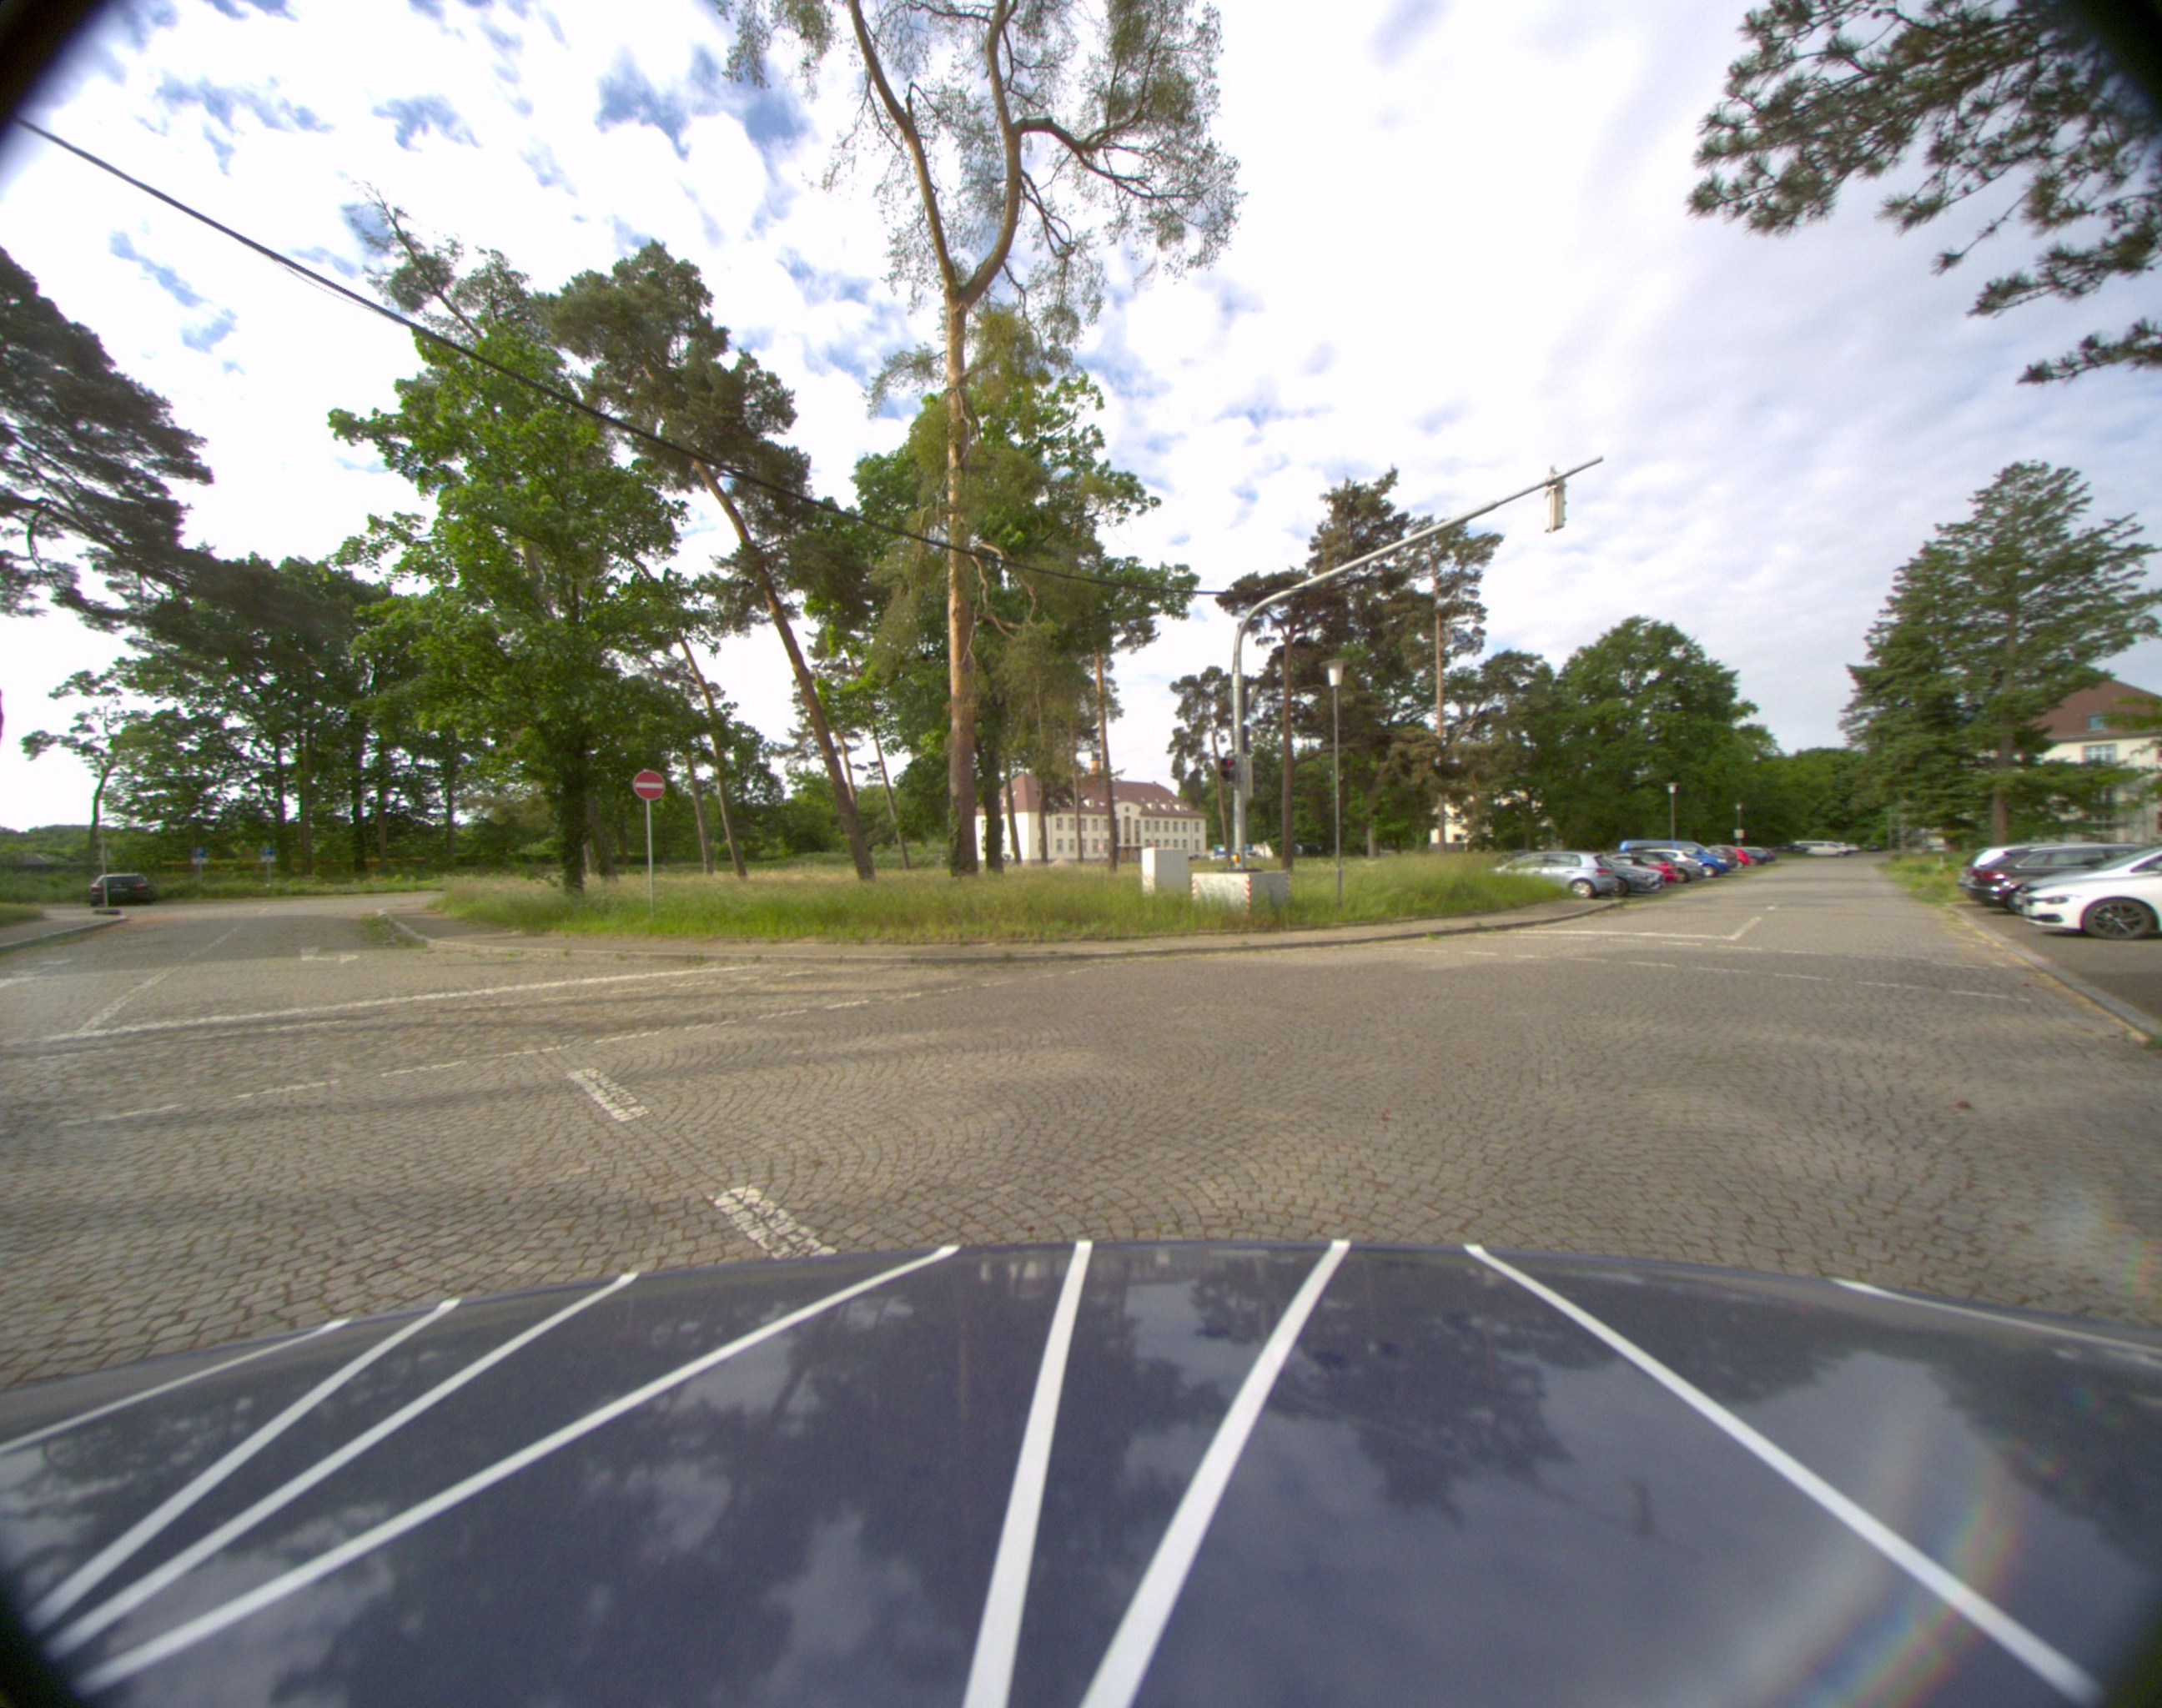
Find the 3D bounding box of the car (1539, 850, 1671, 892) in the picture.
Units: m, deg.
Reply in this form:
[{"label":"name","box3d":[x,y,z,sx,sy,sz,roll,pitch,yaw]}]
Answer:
[{"label":"car","box3d":[20.318,0.636,29.583,1.800,1.504,3.925,-1,1,-41]}]

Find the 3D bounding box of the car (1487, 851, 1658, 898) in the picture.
[{"label":"car","box3d":[16.727,0.643,26.030,1.800,1.437,4.620,-1,1,-44]}]

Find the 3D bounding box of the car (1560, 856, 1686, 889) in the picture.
[{"label":"car","box3d":[22.207,0.729,31.211,1.800,1.227,3.924,-1,1,-43]}]

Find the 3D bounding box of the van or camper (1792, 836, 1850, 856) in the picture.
[{"label":"van or camper","box3d":[93.825,-0.946,96.438,5.236,2.449,2.214,-1,1,44]}]

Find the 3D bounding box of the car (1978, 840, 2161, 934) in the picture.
[{"label":"car","box3d":[19.335,0.548,13.277,4.475,1.580,1.851,-3,-1,42]}]

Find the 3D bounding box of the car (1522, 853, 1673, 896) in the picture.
[{"label":"car","box3d":[18.808,0.687,27.803,1.800,1.437,4.258,-1,1,-41]}]

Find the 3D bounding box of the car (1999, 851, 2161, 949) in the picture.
[{"label":"car","box3d":[17.620,0.640,11.305,4.809,1.431,1.917,-4,-2,44]}]

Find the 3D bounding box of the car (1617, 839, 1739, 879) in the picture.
[{"label":"car","box3d":[31.918,0.255,40.747,2.004,2.002,4.831,-1,1,-40]}]

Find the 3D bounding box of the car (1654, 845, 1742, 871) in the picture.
[{"label":"car","box3d":[38.217,0.244,47.111,1.873,1.496,3.989,-1,1,-42]}]

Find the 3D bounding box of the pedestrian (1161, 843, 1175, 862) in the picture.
[{"label":"pedestrian","box3d":[10.261,-0.197,89.822,1.058,2.165,1.181,-2,1,-44]}]

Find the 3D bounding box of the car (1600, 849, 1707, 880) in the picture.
[{"label":"car","box3d":[28.006,0.490,37.234,1.800,1.441,3.924,-1,1,-44]}]

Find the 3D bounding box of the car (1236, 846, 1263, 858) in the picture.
[{"label":"car","box3d":[28.039,-0.370,126.158,2.161,2.002,4.844,0,1,44]}]

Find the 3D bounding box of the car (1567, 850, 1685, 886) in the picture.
[{"label":"car","box3d":[23.819,0.589,33.296,1.800,1.467,3.924,-1,1,-43]}]

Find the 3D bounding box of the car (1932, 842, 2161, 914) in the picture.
[{"label":"car","box3d":[22.741,0.566,17.480,3.977,1.447,1.684,-5,-2,41]}]

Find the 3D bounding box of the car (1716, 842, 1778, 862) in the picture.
[{"label":"car","box3d":[56.433,-0.144,64.432,2.004,1.615,3.783,-1,1,-43]}]

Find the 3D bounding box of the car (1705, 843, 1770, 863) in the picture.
[{"label":"car","box3d":[53.083,-0.068,61.439,2.004,1.560,3.783,-1,1,-43]}]

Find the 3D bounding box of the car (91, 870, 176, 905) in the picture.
[{"label":"car","box3d":[-46.123,1.575,37.076,2.004,1.524,3.989,-1,1,-43]}]

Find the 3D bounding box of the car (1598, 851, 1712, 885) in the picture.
[{"label":"car","box3d":[26.178,0.611,34.747,1.800,1.427,3.924,-1,1,-44]}]

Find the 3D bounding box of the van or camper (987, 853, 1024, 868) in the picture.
[{"label":"van or camper","box3d":[-12.357,1.039,124.017,6.110,2.293,2.470,0,1,44]}]

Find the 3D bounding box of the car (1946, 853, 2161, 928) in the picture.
[{"label":"car","box3d":[21.104,0.697,15.345,4.621,1.414,1.889,0,1,43]}]

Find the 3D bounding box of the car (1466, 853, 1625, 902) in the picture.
[{"label":"car","box3d":[14.709,0.693,24.213,1.800,1.410,3.988,-1,1,-43]}]

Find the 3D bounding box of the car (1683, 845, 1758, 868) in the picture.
[{"label":"car","box3d":[45.654,0.156,54.261,3.988,1.560,2.004,0,1,43]}]
